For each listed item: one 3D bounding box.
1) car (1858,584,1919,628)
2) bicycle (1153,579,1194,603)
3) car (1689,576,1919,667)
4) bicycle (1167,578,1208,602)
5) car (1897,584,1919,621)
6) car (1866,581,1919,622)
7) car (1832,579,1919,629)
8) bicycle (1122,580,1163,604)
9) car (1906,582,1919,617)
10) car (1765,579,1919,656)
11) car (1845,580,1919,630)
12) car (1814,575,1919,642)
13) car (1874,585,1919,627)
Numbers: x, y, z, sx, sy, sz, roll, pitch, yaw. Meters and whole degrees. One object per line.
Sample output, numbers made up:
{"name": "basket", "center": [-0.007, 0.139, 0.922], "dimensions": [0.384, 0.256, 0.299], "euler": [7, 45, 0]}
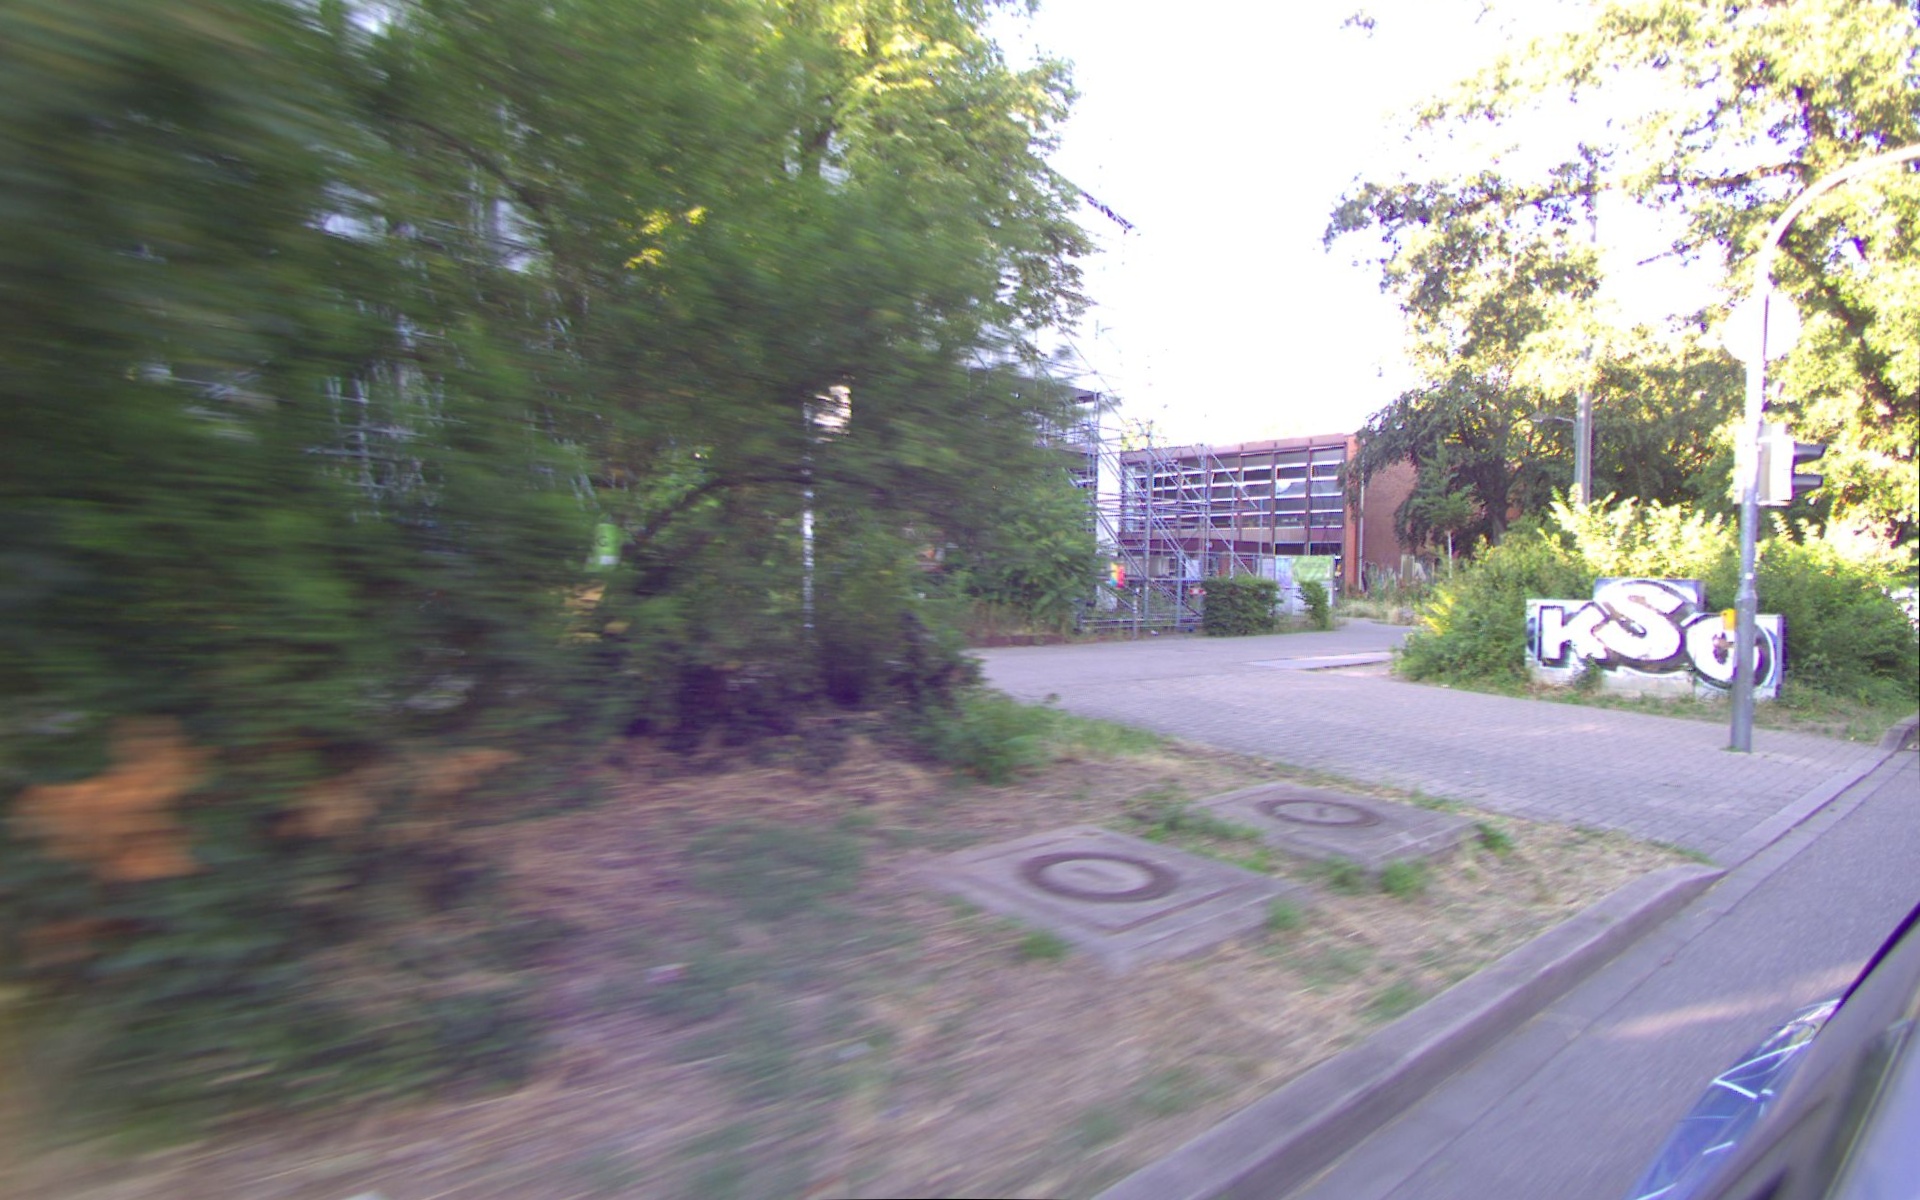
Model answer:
{"name": "car", "center": [34.908, 0.277, 36.135], "dimensions": [1.799, 1.471, 3.935], "euler": [0, 4, -39]}
{"name": "bicycle", "center": [10.477, -0.437, 49.699], "dimensions": [2.345, 1.152, 0.648], "euler": [0, 2, -40]}
{"name": "car", "center": [18.156, 0.384, 21.318], "dimensions": [1.832, 1.731, 4.183], "euler": [0, 1, -36]}
{"name": "bicycle", "center": [11.072, -0.472, 49.154], "dimensions": [2.345, 1.152, 0.648], "euler": [0, 2, -40]}
{"name": "car", "center": [41.116, 0.247, 41.391], "dimensions": [1.725, 1.492, 3.818], "euler": [1, 4, -40]}
{"name": "car", "center": [38.712, 0.122, 40.172], "dimensions": [1.799, 1.492, 3.818], "euler": [-1, 5, -40]}
{"name": "car", "center": [31.453, 0.212, 32.979], "dimensions": [1.711, 1.493, 4.347], "euler": [1, 3, -41]}
{"name": "bicycle", "center": [9.166, -0.385, 50.807], "dimensions": [2.345, 1.152, 0.648], "euler": [0, 2, -40]}
{"name": "car", "center": [44.766, 0.110, 44.956], "dimensions": [1.788, 1.516, 3.735], "euler": [-1, 5, -40]}
{"name": "car", "center": [21.839, 0.400, 23.925], "dimensions": [1.692, 1.688, 4.131], "euler": [0, 2, -40]}
{"name": "car", "center": [33.118, 0.201, 34.903], "dimensions": [1.713, 1.574, 3.717], "euler": [0, 4, -44]}
{"name": "car", "center": [25.564, 0.280, 27.197], "dimensions": [1.668, 1.613, 3.752], "euler": [1, 3, -42]}
{"name": "car", "center": [37.102, 0.328, 37.828], "dimensions": [1.800, 1.492, 4.128], "euler": [0, 4, -42]}
